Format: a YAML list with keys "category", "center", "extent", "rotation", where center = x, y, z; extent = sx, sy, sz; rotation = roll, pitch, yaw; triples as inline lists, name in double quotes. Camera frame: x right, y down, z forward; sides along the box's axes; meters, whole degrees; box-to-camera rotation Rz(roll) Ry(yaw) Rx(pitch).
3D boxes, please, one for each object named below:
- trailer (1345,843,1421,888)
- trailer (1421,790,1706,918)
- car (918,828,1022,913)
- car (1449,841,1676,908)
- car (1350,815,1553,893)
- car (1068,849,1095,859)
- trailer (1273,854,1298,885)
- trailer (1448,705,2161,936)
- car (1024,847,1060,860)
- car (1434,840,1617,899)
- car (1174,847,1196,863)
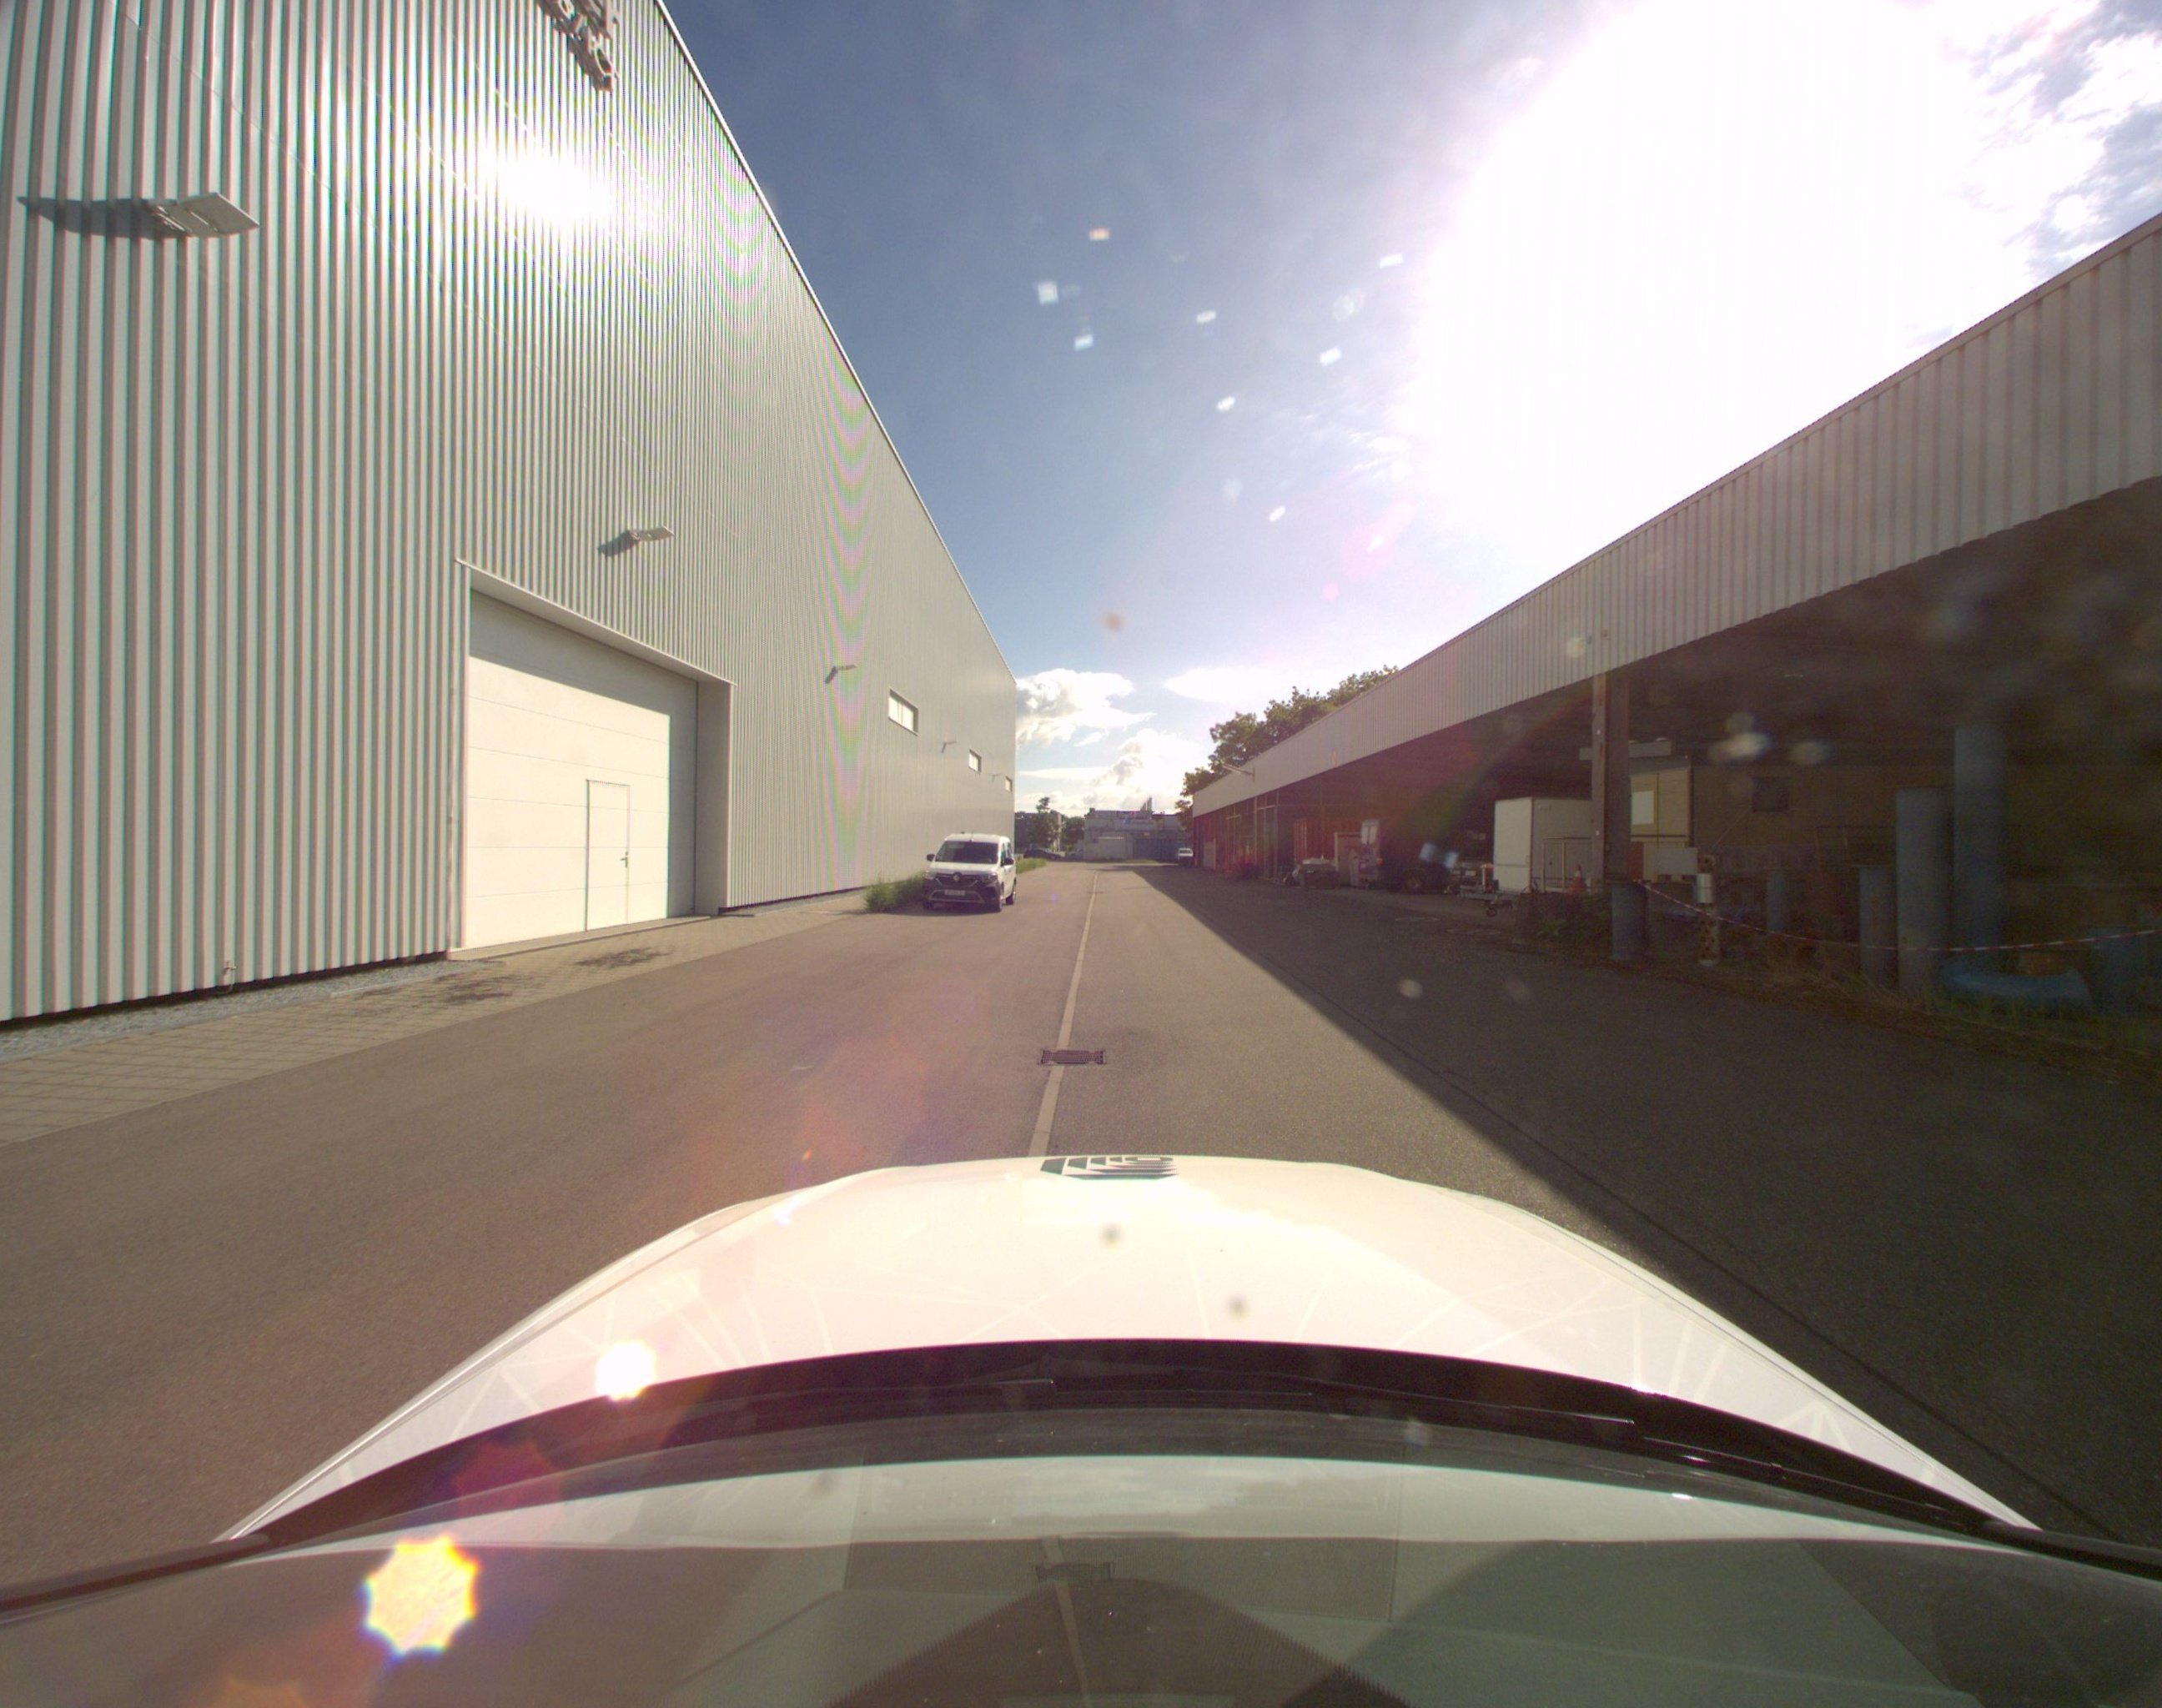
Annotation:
- category: "trailer"
  center: [10.259, 0.387, 27.779]
  extent: [2.028, 1.466, 1.741]
  rotation: [-1, 0, 5]
- category: "trailer"
  center: [9.512, 0.008, 16.377]
  extent: [4.498, 2.342, 2.048]
  rotation: [-1, 0, 2]
- category: "car"
  center: [-2.605, 0.369, 20.146]
  extent: [1.777, 1.816, 4.602]
  rotation: [2, 0, 1]
- category: "car"
  center: [11.056, 0.441, 18.912]
  extent: [4.237, 1.471, 1.869]
  rotation: [0, 0, -2]
- category: "car"
  center: [11.307, -0.001, 25.150]
  extent: [5.314, 2.281, 2.153]
  rotation: [0, 0, 0]
- category: "car"
  center: [0.046, -0.038, 129.998]
  extent: [4.288, 1.457, 1.824]
  rotation: [-1, 0, 0]
- category: "trailer"
  center: [7.762, 0.573, 30.926]
  extent: [0.550, 1.118, 1.546]
  rotation: [-1, 0, 0]
- category: "trailer"
  center: [12.003, -0.515, 13.842]
  extent: [10.230, 3.343, 2.802]
  rotation: [-1, 0, 1]
- category: "car"
  center: [-4.895, -0.026, 102.163]
  extent: [4.432, 1.531, 1.824]
  rotation: [-1, 0, 0]
- category: "car"
  center: [11.904, 0.409, 21.986]
  extent: [3.953, 1.514, 1.839]
  rotation: [0, 0, -2]
- category: "car"
  center: [11.396, 0.129, 89.466]
  extent: [1.971, 1.602, 4.381]
  rotation: [-1, 1, 3]
